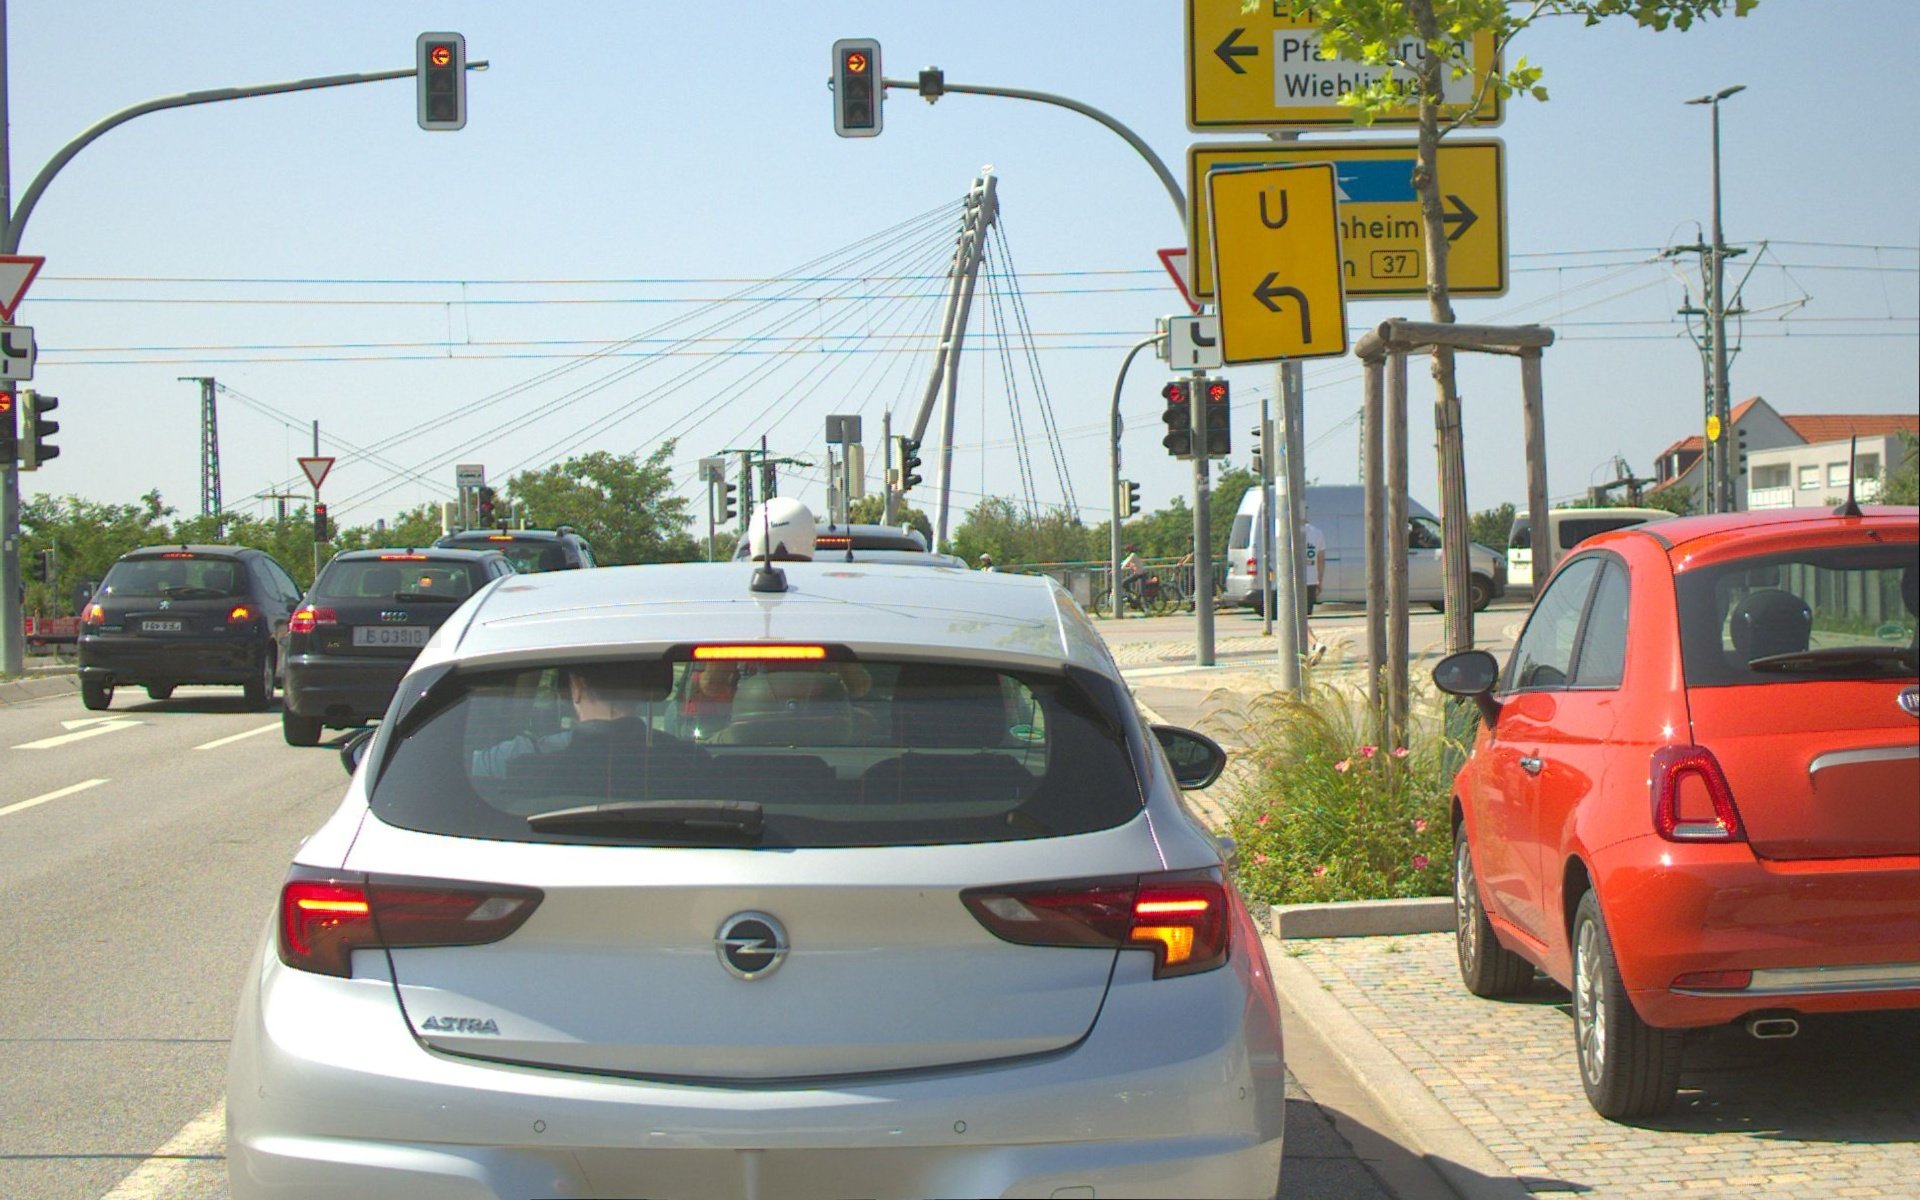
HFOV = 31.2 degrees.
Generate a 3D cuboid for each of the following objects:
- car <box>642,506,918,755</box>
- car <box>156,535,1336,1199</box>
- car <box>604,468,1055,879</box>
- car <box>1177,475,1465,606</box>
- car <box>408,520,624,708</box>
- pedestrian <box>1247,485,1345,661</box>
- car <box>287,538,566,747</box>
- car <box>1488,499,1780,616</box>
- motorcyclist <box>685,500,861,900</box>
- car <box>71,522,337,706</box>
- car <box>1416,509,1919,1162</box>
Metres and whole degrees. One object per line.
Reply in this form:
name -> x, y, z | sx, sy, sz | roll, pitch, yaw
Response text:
car -> -1.174, 0.138, 23.947 | 1.724, 1.558, 4.000 | 1, 2, 0
car -> -0.423, 0.631, 7.121 | 1.742, 1.473, 4.001 | 1, 1, -3
car -> -0.607, 0.272, 17.563 | 1.993, 1.814, 4.402 | 1, 2, -1
car -> 6.634, -1.088, 63.468 | 4.999, 2.368, 1.784 | 0, 0, -8
car -> -4.025, 0.101, 31.639 | 1.649, 1.610, 3.821 | 1, 1, -3
pedestrian -> 3.539, -0.291, 36.221 | 0.796, 1.830, 0.649 | -1, 1, -44
car -> -3.919, 0.275, 25.757 | 1.575, 1.429, 3.786 | 1, 1, -1
car -> 12.086, -0.751, 61.732 | 4.701, 2.007, 2.001 | 1, 0, -12
motorcyclist -> -0.661, 0.344, 12.312 | 0.581, 1.384, 0.707 | 1, 0, -1
car -> -6.765, 0.104, 31.075 | 1.597, 1.542, 3.762 | 1, 1, -1
car -> 2.335, 0.513, 9.769 | 1.610, 1.491, 3.352 | -2, 1, 1
